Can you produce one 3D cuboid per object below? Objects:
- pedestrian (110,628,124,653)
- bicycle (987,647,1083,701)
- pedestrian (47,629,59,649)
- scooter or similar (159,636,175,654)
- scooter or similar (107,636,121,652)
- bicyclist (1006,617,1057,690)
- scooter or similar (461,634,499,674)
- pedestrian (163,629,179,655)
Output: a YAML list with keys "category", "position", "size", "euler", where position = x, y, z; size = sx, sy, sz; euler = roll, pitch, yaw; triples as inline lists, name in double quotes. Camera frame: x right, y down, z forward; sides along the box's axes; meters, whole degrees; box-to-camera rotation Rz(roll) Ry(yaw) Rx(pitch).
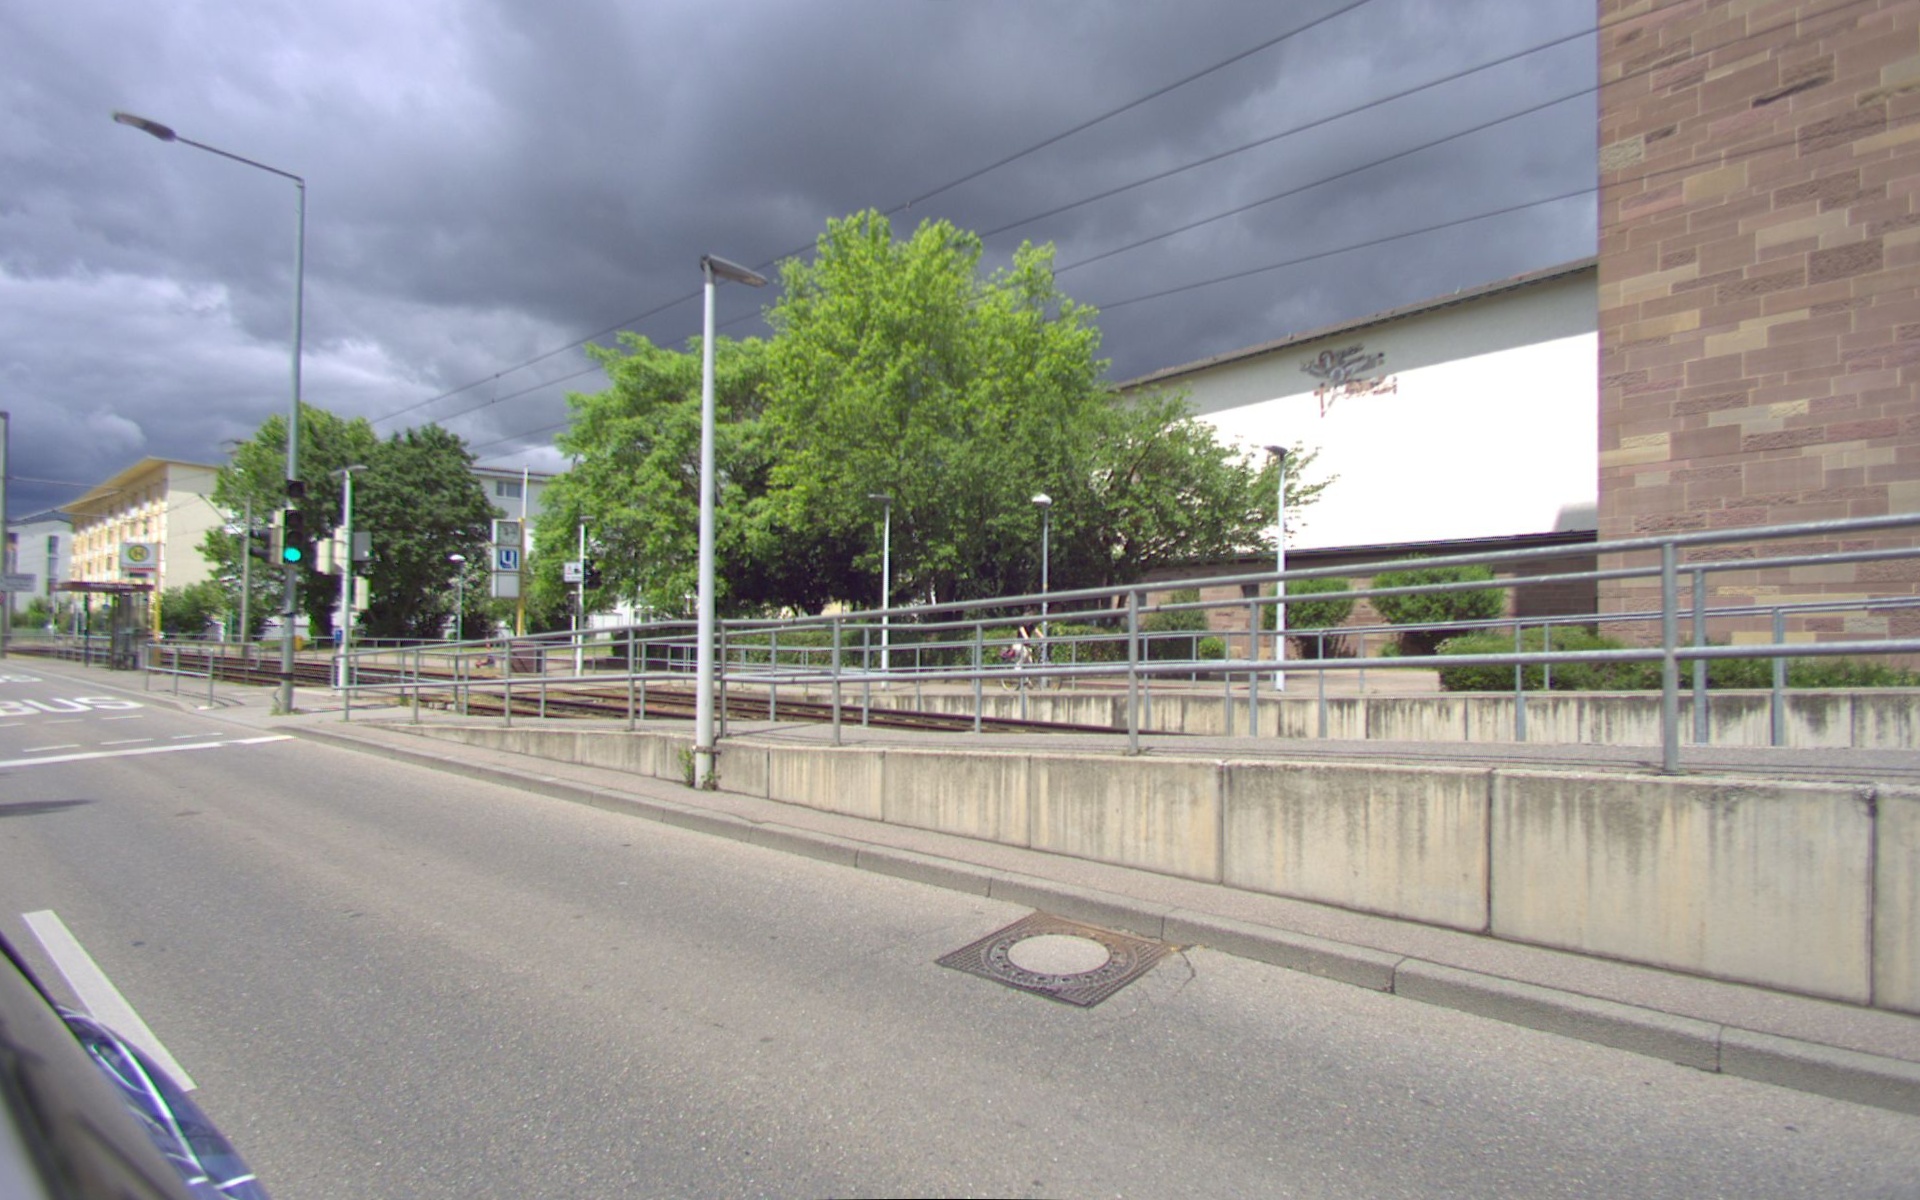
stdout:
- category: "pedestrian"
  position: [-59.087, 2.852, 70.910]
  size: [0.679, 1.705, 0.638]
  euler: [-2, -2, 41]
- category: "bicycle"
  position: [1.488, 1.459, 20.318]
  size: [1.927, 1.001, 0.631]
  euler: [-2, -1, 41]
- category: "pedestrian"
  position: [-73.197, 3.144, 81.667]
  size: [0.773, 1.619, 0.598]
  euler: [-2, -1, 39]
- category: "scooter or similar"
  position: [-49.374, 2.801, 63.035]
  size: [0.820, 1.123, 0.598]
  euler: [-1, -2, 39]
- category: "scooter or similar"
  position: [-59.693, 3.102, 71.414]
  size: [0.891, 1.172, 0.602]
  euler: [-2, -2, 41]
- category: "bicyclist"
  position: [1.430, 1.061, 20.369]
  size: [0.790, 1.440, 0.626]
  euler: [-2, -1, 41]
- category: "scooter or similar"
  position: [-15.670, 1.762, 33.025]
  size: [1.400, 1.246, 0.642]
  euler: [-3, -2, 42]
- category: "pedestrian"
  position: [-48.717, 2.582, 62.497]
  size: [0.873, 1.552, 0.606]
  euler: [-2, -2, 39]
